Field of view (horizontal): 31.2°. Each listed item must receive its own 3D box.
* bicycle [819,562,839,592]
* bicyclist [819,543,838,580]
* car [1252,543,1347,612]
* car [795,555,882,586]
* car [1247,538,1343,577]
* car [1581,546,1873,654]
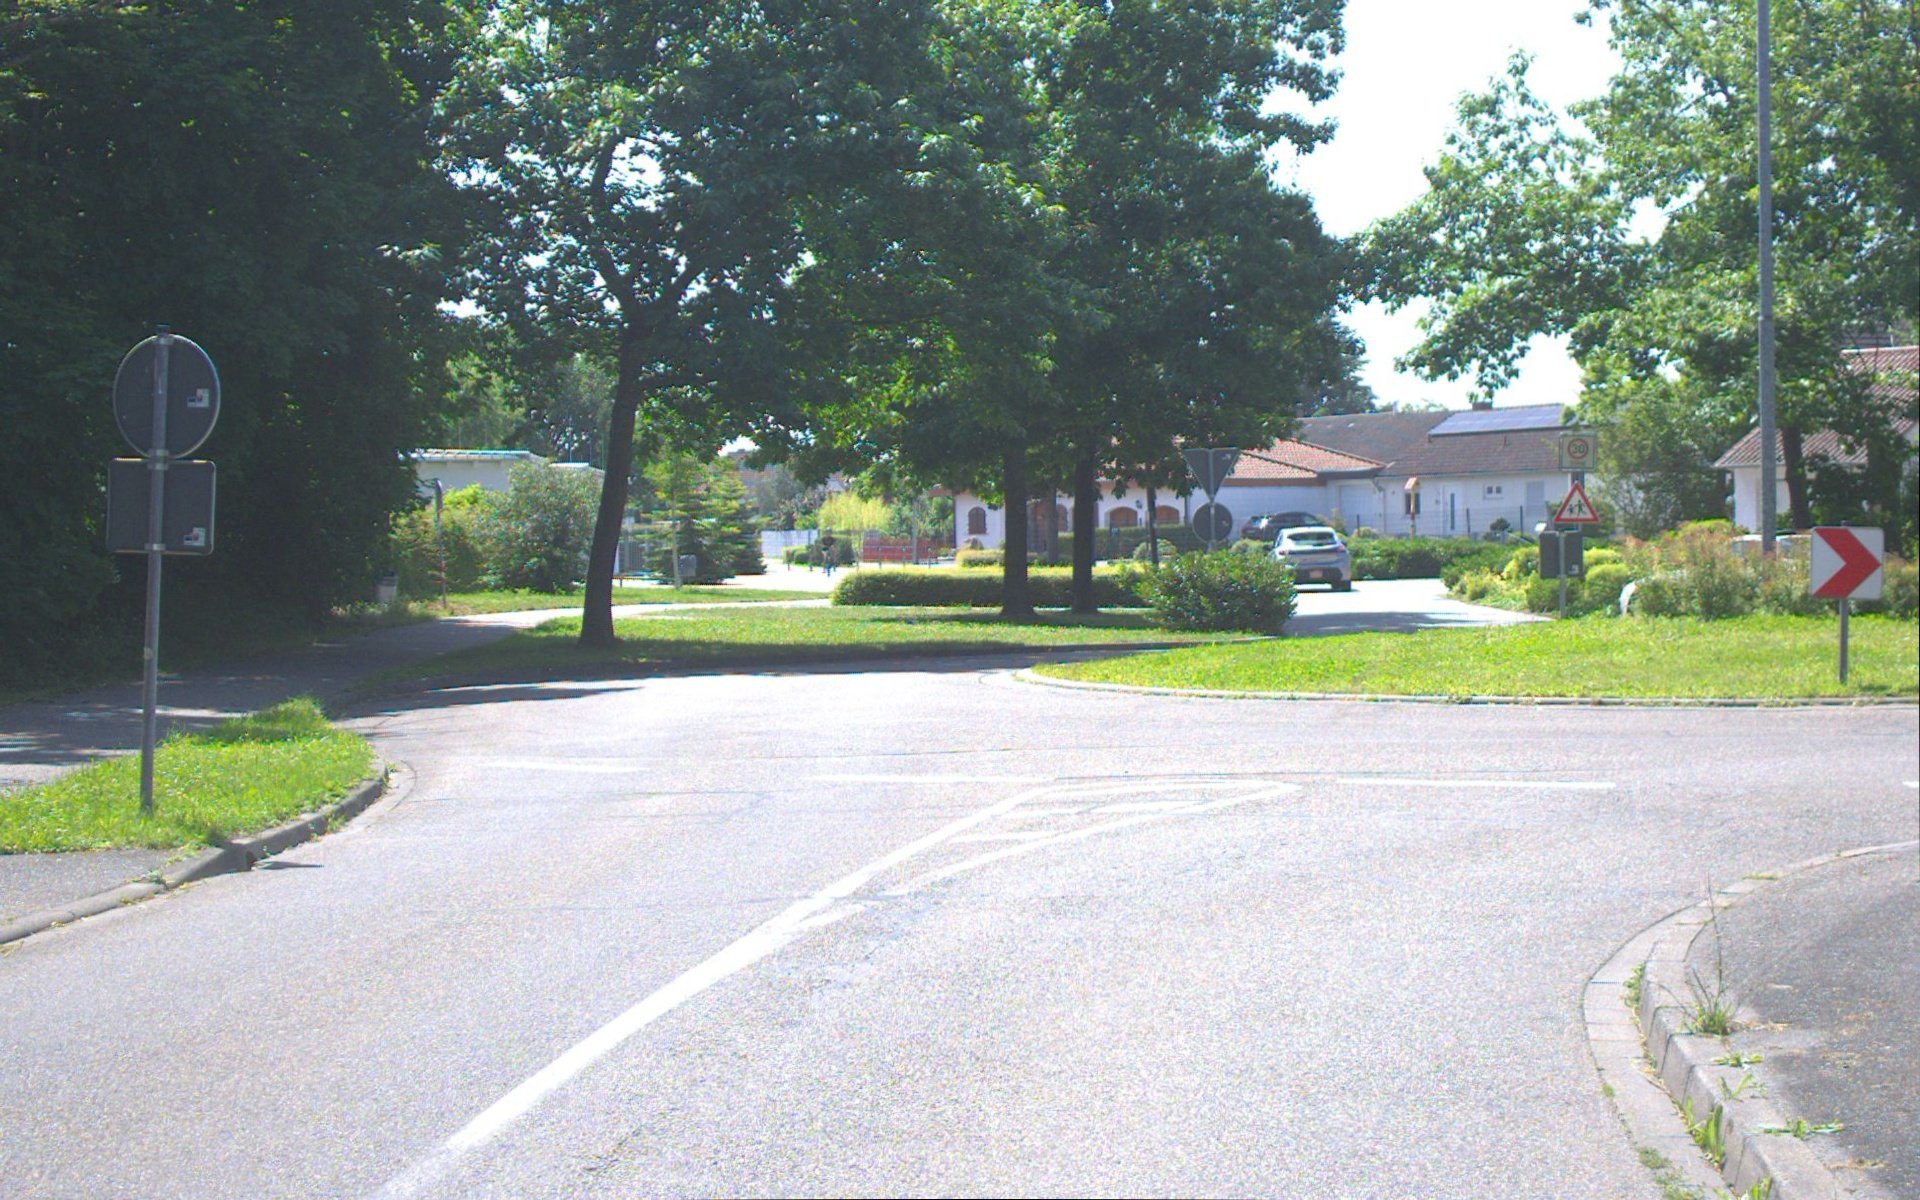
[{"bbox_3d":[-4.161,-0.746,109.153,0.597,0.926,1.620,-1,1,-2],"label":"bicycle"},{"bbox_3d":[-4.165,-1.236,109.113,0.597,1.160,0.648,-1,1,-2],"label":"bicyclist"},{"bbox_3d":[7.607,-0.527,77.294,1.628,1.481,4.000,-1,1,-1],"label":"car"},{"bbox_3d":[-5.201,-1.237,146.553,1.993,1.284,4.000,-1,1,-31],"label":"car"},{"bbox_3d":[13.641,-1.737,139.969,3.826,1.537,1.853,-1,1,-44],"label":"car"},{"bbox_3d":[9.608,-0.015,43.271,1.614,1.284,3.557,-1,1,-29],"label":"car"}]
